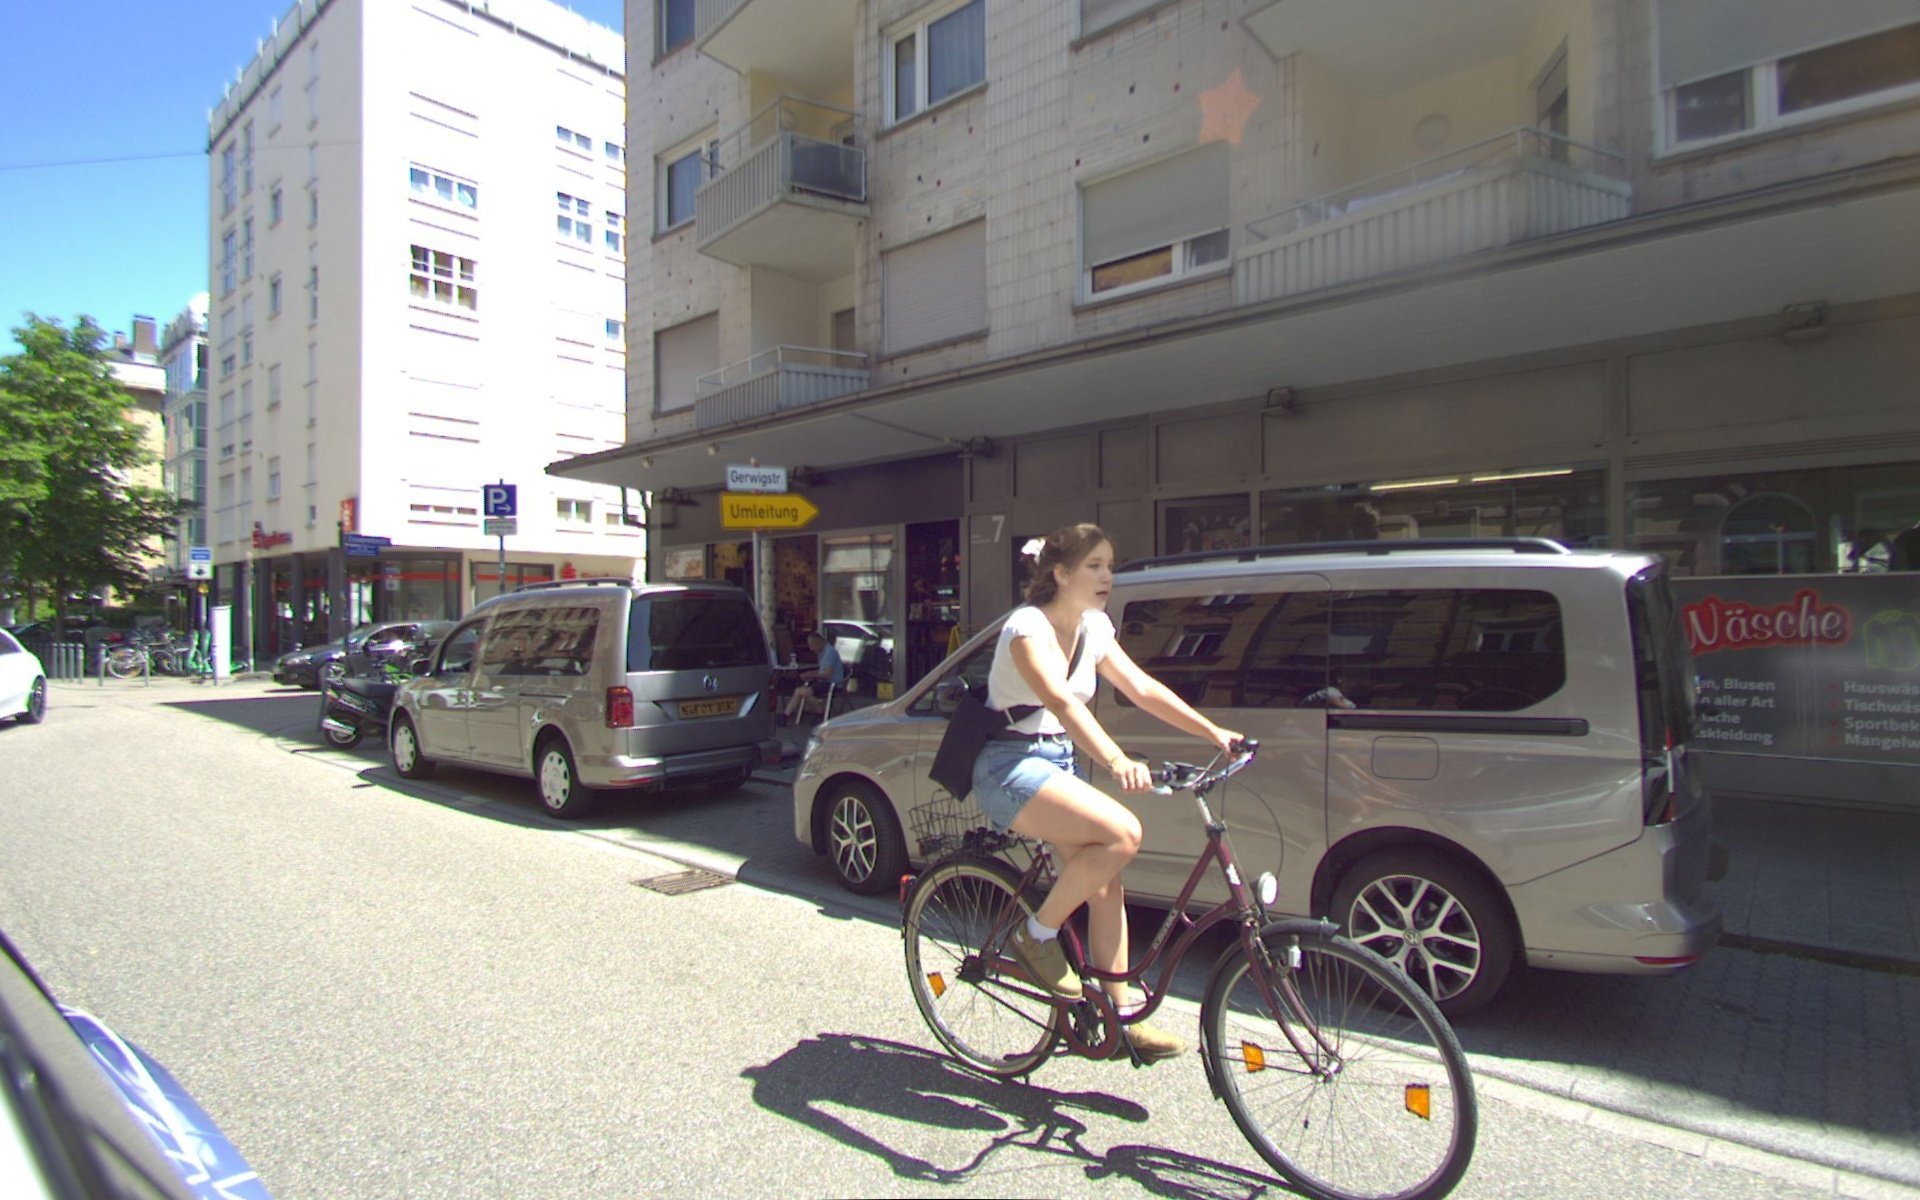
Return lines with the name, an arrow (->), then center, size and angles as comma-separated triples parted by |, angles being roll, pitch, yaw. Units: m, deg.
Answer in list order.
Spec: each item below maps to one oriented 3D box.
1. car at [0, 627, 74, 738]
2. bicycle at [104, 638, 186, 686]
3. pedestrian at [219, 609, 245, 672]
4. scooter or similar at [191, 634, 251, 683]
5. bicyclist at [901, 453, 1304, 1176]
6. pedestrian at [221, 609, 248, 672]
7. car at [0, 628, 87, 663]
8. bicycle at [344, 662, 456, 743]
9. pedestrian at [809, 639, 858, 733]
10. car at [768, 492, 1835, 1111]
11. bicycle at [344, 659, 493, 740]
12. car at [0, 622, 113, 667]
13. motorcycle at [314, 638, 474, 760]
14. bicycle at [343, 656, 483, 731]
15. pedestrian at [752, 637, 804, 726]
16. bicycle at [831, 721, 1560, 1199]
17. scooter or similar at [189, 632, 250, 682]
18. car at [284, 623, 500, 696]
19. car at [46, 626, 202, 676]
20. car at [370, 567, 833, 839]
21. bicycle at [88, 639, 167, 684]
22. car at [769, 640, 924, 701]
car -> -13.250, 1.067, 12.850 | 1.784, 1.436, 4.255 | 0, -1, -23
bicycle -> -20.785, 1.566, 25.841 | 1.586, 1.099, 0.371 | -2, 0, -44
pedestrian -> -25.328, 1.404, 35.219 | 0.605, 2.141, 0.492 | -1, -2, 22
scooter or similar -> -18.420, 1.450, 25.242 | 0.289, 1.176, 1.177 | -2, -2, 39
bicyclist -> 0.397, 0.519, 2.976 | 0.978, 1.719, 0.616 | -2, -2, 41
pedestrian -> -24.881, 1.389, 34.693 | 0.599, 2.141, 0.496 | 0, -2, -13
car -> -42.112, 2.033, 45.718 | 1.651, 1.507, 3.835 | -2, -2, 40
bicycle -> -7.072, 1.288, 12.807 | 1.194, 0.964, 0.337 | -1, 0, -6
pedestrian -> -1.593, 1.063, 12.736 | 0.491, 1.135, 0.510 | 0, -2, -21
car -> 1.269, 0.642, 5.160 | 4.693, 1.825, 1.771 | -2, -1, 39
bicycle -> -7.073, 1.292, 13.261 | 1.684, 0.964, 0.411 | -1, 0, -6
car -> -37.938, 1.814, 42.162 | 1.651, 1.760, 3.835 | -2, -2, 40
motorcycle -> -6.487, 1.118, 11.654 | 1.530, 1.293, 0.394 | -1, 0, -17
bicycle -> -7.633, 1.301, 14.166 | 1.684, 0.964, 0.411 | -1, 0, -6
pedestrian -> -2.409, 1.065, 13.408 | 0.504, 1.135, 0.496 | -1, -2, 21
bicycle -> 0.510, 0.970, 2.845 | 1.939, 1.100, 0.596 | -2, -2, 41
scooter or similar -> -18.224, 1.385, 24.929 | 0.289, 1.176, 1.177 | -2, -2, 39
car -> -12.481, 1.252, 22.380 | 3.834, 1.436, 1.816 | 1, -2, -45
car -> -28.171, 1.674, 34.182 | 1.651, 1.541, 3.835 | -2, -2, 40
car -> -3.464, 0.749, 9.157 | 4.898, 1.843, 1.770 | -2, -1, 41
bicycle -> -22.147, 1.623, 26.955 | 1.586, 1.099, 0.371 | -2, 0, -44
car -> -2.846, 1.744, 25.360 | 3.561, 1.380, 1.515 | -1, -1, 19
